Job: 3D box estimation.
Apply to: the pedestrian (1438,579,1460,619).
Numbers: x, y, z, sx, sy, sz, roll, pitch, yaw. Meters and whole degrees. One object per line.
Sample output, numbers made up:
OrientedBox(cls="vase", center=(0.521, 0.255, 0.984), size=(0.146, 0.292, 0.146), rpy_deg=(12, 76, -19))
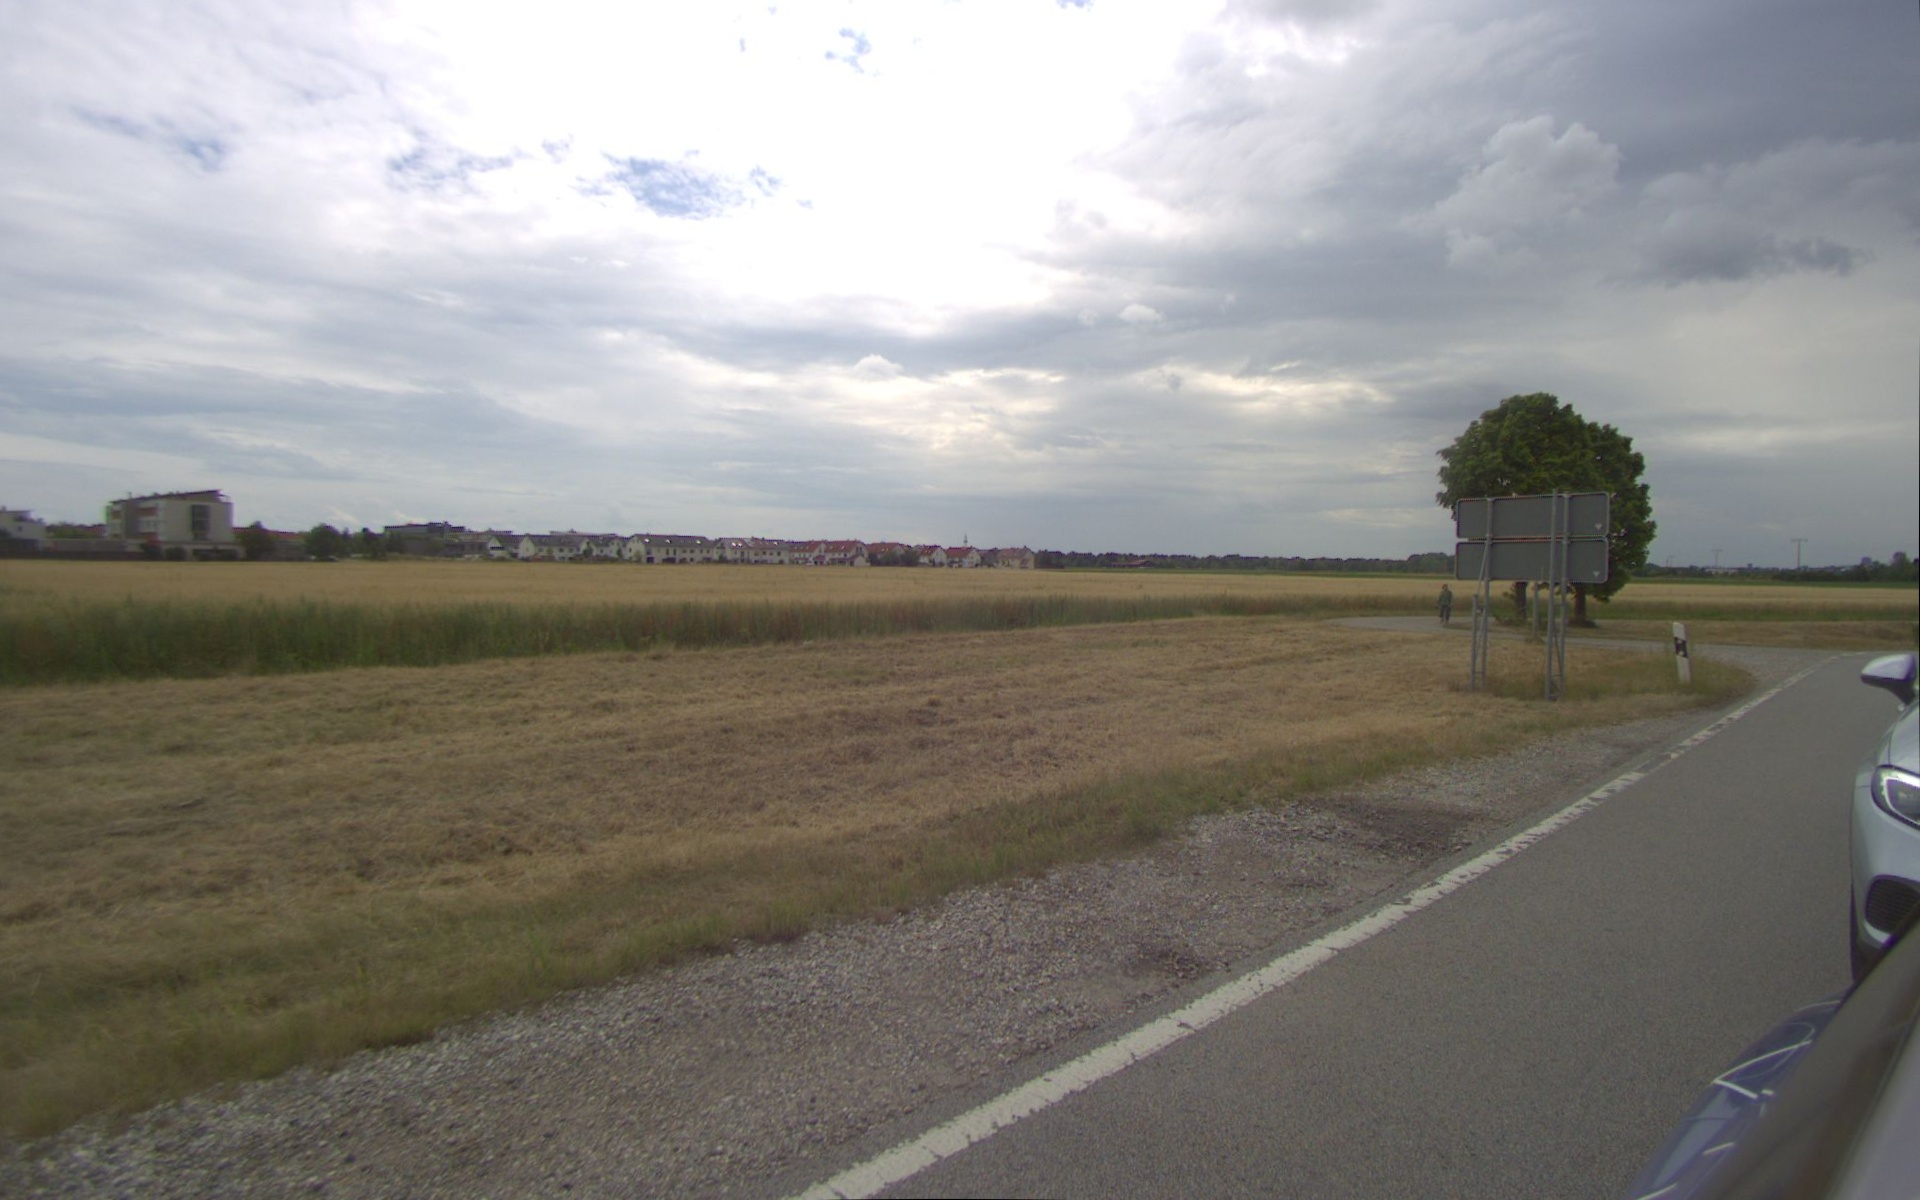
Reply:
OrientedBox(cls="pedestrian", center=(20.358, -0.067, 42.156), size=(0.766, 1.631, 0.936), rpy_deg=(2, 2, 27))

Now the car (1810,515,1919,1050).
OrientedBox(cls="car", center=(4.967, 0.510, 3.928), size=(4.320, 1.606, 1.993), rpy_deg=(-1, 1, -42))
